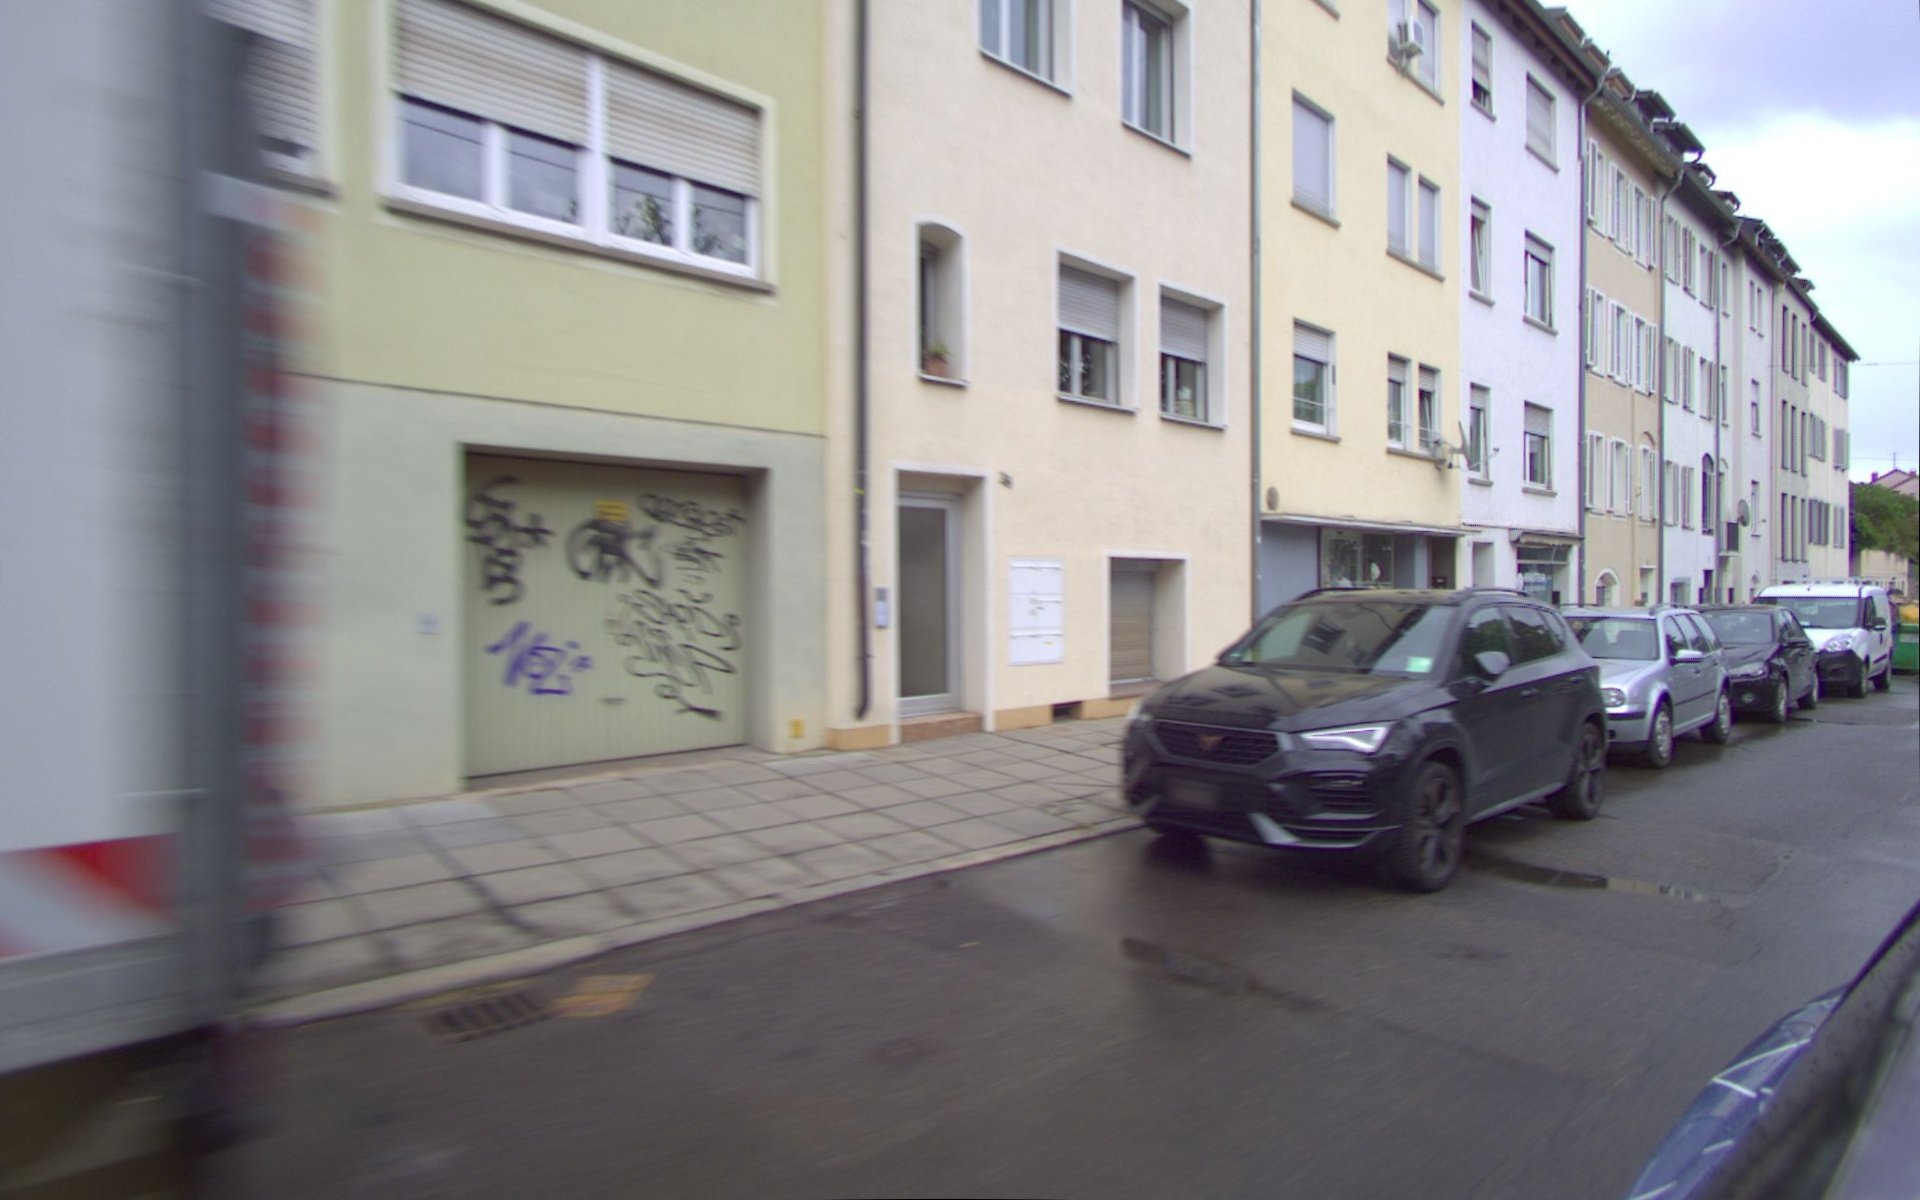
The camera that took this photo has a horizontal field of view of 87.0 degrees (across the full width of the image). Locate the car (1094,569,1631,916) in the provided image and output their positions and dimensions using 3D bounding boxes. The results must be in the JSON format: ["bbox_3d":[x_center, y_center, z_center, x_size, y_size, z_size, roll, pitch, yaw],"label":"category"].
[{"bbox_3d":[2.826,0.671,6.637,4.027,1.593,1.665,1,-1,-42],"label":"car"}]

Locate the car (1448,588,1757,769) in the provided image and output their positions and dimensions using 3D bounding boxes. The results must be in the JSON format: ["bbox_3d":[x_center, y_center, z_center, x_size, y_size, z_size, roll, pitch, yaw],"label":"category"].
[{"bbox_3d":[6.744,0.675,10.456,4.027,1.519,1.665,1,-1,-42],"label":"car"}]

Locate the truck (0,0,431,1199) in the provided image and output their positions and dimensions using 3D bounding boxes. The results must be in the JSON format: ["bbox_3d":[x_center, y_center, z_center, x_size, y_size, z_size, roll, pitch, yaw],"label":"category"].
[{"bbox_3d":[-4.159,-0.156,0.110,6.913,3.212,2.473,0,-1,-41],"label":"truck"}]

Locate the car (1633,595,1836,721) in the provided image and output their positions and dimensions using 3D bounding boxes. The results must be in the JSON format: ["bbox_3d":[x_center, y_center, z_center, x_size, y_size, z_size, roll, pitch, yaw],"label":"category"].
[{"bbox_3d":[10.550,0.706,13.707,3.441,1.489,1.579,1,-1,-42],"label":"car"}]

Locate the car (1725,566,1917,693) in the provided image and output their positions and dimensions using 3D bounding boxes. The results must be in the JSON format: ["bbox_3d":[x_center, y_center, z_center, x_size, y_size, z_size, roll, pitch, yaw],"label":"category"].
[{"bbox_3d":[14.976,0.489,17.536,4.163,1.949,1.821,1,-2,-40],"label":"car"}]
